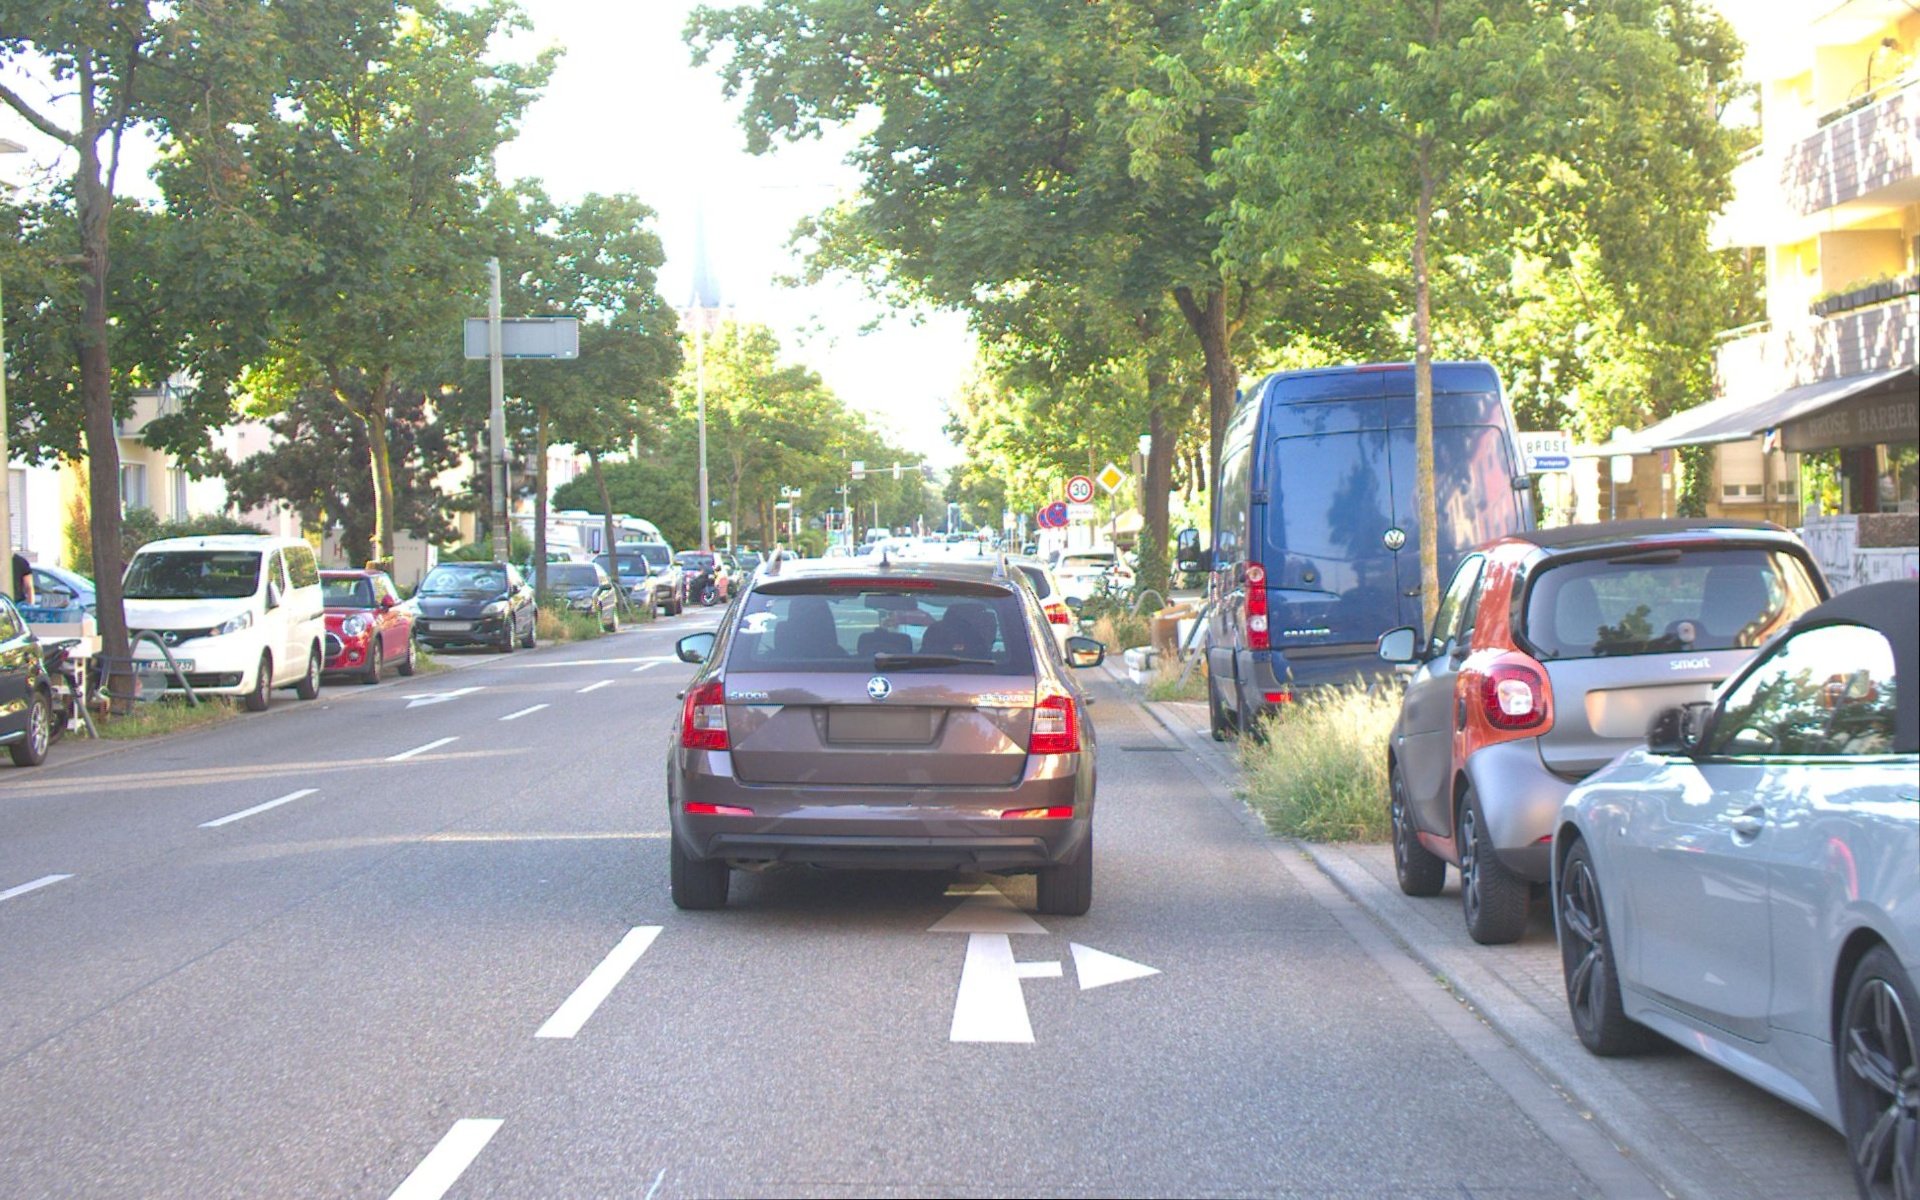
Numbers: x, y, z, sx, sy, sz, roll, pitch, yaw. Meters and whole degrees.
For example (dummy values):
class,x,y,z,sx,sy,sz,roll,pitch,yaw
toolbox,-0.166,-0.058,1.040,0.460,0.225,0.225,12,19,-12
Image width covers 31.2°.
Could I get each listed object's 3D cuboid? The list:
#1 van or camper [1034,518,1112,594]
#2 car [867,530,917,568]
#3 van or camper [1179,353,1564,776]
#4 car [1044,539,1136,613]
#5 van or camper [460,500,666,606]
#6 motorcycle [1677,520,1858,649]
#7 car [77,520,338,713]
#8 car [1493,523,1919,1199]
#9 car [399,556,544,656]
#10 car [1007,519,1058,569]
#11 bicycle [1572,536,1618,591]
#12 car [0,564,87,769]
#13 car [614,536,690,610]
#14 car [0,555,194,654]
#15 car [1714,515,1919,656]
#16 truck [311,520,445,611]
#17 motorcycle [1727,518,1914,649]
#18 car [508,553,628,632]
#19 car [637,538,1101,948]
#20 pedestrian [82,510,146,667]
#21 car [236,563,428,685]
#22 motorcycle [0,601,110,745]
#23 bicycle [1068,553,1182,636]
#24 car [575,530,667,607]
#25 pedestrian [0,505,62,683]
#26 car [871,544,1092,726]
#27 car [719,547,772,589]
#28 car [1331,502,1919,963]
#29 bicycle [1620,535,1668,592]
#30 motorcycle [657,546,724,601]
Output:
class,x,y,z,sx,sy,sz,roll,pitch,yaw
van or camper,3.095,-1.236,94.519,1.993,2.007,4.000,-1,1,0
car,-3.282,-2.469,166.870,1.877,1.751,4.178,-1,1,7
van or camper,2.823,-0.254,24.967,2.068,2.666,5.990,-1,1,0
car,2.666,-0.516,70.442,1.821,1.408,4.111,-1,1,2
van or camper,-15.216,-1.816,131.947,7.639,3.861,2.000,-1,1,-1
motorcycle,10.465,-0.204,44.598,2.195,1.615,0.731,-1,1,7
car,-8.013,0.115,37.012,1.770,1.912,4.460,-1,1,0
car,2.774,0.564,8.472,1.920,1.481,4.747,-1,2,-3
car,-7.931,0.067,56.153,1.717,1.492,4.248,-1,1,0
car,2.720,-2.126,130.308,1.729,1.809,3.951,-1,1,-1
bicycle,11.108,-0.639,60.175,0.342,0.947,1.582,2,1,-5
car,-8.085,0.524,26.314,1.750,1.497,3.979,-1,1,0
car,-7.631,-0.693,85.339,1.507,1.751,3.694,-1,1,0
car,-14.024,0.057,53.155,3.986,1.474,2.000,0,1,-3
car,10.506,-0.196,37.748,3.986,1.457,1.825,-1,1,-3
truck,-13.897,-0.828,82.188,2.913,2.086,1.546,-1,1,0
motorcycle,10.931,-0.214,43.733,2.195,1.615,0.889,-1,1,7
car,-7.663,-0.173,67.493,1.754,1.415,4.425,-1,1,1
car,-0.293,0.507,14.966,1.729,1.488,3.951,-1,1,2
pedestrian,-10.901,-0.153,44.308,0.626,2.007,0.616,-1,1,0
car,-7.993,0.273,44.070,1.717,1.416,3.787,-1,1,0
motorcycle,-8.164,0.633,29.607,0.441,1.188,1.703,0,2,38
bicycle,2.633,-0.093,54.874,1.671,1.222,0.635,-3,1,13
car,-7.923,-0.760,80.673,1.750,1.734,3.591,-1,1,0
pedestrian,-10.825,-0.072,39.395,0.767,2.007,0.976,-1,1,0
car,0.134,0.267,31.391,1.729,1.488,3.951,-1,1,-3
car,-7.635,-1.150,122.401,1.664,1.427,3.275,-1,1,0
car,2.694,0.461,14.334,1.772,1.636,3.757,-1,1,-1
bicycle,11.847,-0.638,59.576,0.342,0.947,1.582,-3,1,-5
motorcycle,-7.494,-0.747,95.614,0.764,1.506,2.029,-2,2,-42
